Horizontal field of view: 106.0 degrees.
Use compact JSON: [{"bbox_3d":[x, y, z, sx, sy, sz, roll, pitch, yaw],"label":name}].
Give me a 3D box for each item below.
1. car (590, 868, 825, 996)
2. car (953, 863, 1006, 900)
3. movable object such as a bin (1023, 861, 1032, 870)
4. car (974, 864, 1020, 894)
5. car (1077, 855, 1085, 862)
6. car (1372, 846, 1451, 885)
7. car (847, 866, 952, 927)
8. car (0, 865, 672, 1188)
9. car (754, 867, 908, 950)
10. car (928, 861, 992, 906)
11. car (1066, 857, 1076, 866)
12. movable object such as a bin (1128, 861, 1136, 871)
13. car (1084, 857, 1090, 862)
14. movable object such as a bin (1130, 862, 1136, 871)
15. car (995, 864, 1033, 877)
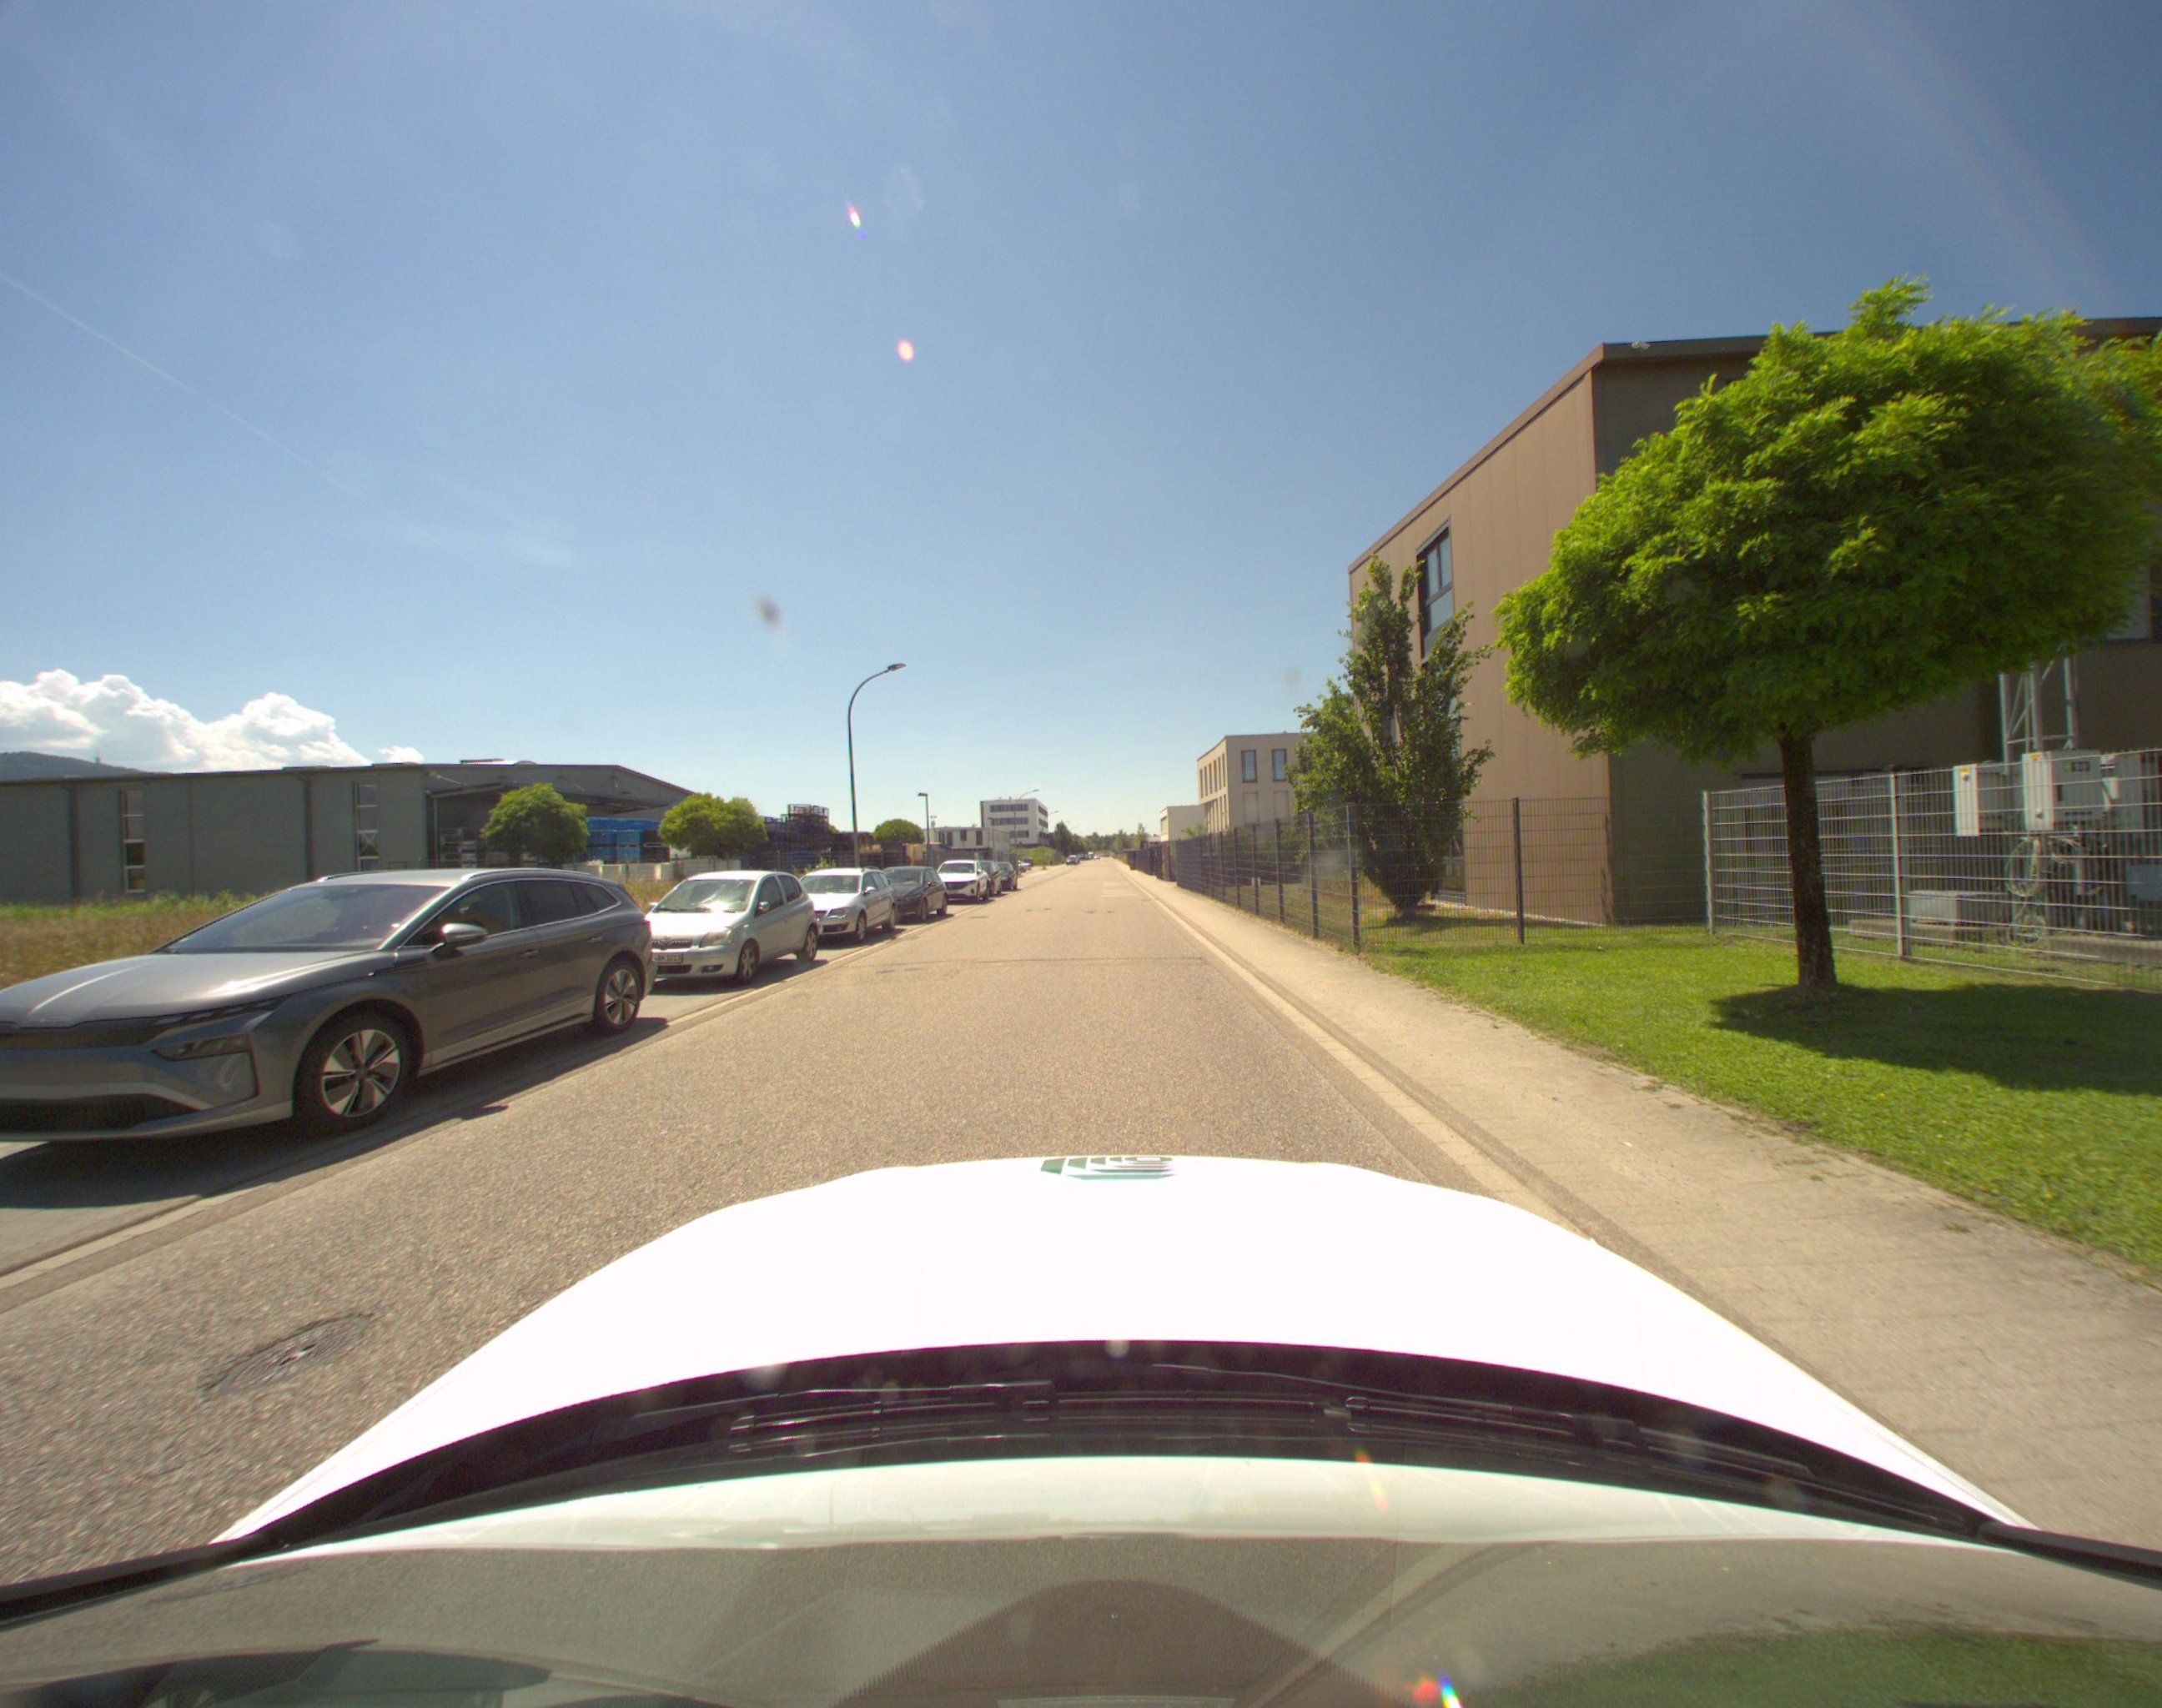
[{"bbox_3d":[-5.263,1.005,12.049,1.688,1.525,3.735,-1,0,1],"label":"car"},{"bbox_3d":[-4.542,1.205,36.941,1.763,1.556,4.501,-1,-1,0],"label":"car"},{"bbox_3d":[-8.634,1.914,131.202,1.282,1.412,1.805,-2,0,-2],"label":"movable object such as a bin"},{"bbox_3d":[-4.329,1.249,42.555,1.762,1.461,4.335,-1,-1,2],"label":"car"},{"bbox_3d":[0.034,1.043,192.329,1.638,1.490,3.209,-2,0,2],"label":"car"},{"bbox_3d":[13.580,0.452,33.715,1.649,1.444,4.001,-2,-1,1],"label":"car"},{"bbox_3d":[-4.935,1.121,22.780,1.850,1.481,4.230,-1,0,1],"label":"car"},{"bbox_3d":[-5.278,0.920,6.414,1.784,1.607,4.463,-1,0,1],"label":"car"},{"bbox_3d":[-5.173,1.052,17.583,1.769,1.481,4.816,-1,0,1],"label":"car"},{"bbox_3d":[-4.572,1.074,31.361,1.763,1.592,4.360,-1,-1,0],"label":"car"},{"bbox_3d":[-1.686,1.223,137.349,1.461,1.490,3.209,-2,0,2],"label":"car"},{"bbox_3d":[5.676,1.362,90.333,0.775,1.019,0.666,-6,0,5],"label":"movable object such as a bin"},{"bbox_3d":[2.036,1.697,259.206,1.797,1.557,4.001,-2,0,2],"label":"car"},{"bbox_3d":[5.658,1.396,89.242,0.549,0.928,0.522,-6,0,5],"label":"movable object such as a bin"},{"bbox_3d":[-7.889,1.930,96.199,4.262,1.364,1.898,-3,0,1],"label":"car"}]
